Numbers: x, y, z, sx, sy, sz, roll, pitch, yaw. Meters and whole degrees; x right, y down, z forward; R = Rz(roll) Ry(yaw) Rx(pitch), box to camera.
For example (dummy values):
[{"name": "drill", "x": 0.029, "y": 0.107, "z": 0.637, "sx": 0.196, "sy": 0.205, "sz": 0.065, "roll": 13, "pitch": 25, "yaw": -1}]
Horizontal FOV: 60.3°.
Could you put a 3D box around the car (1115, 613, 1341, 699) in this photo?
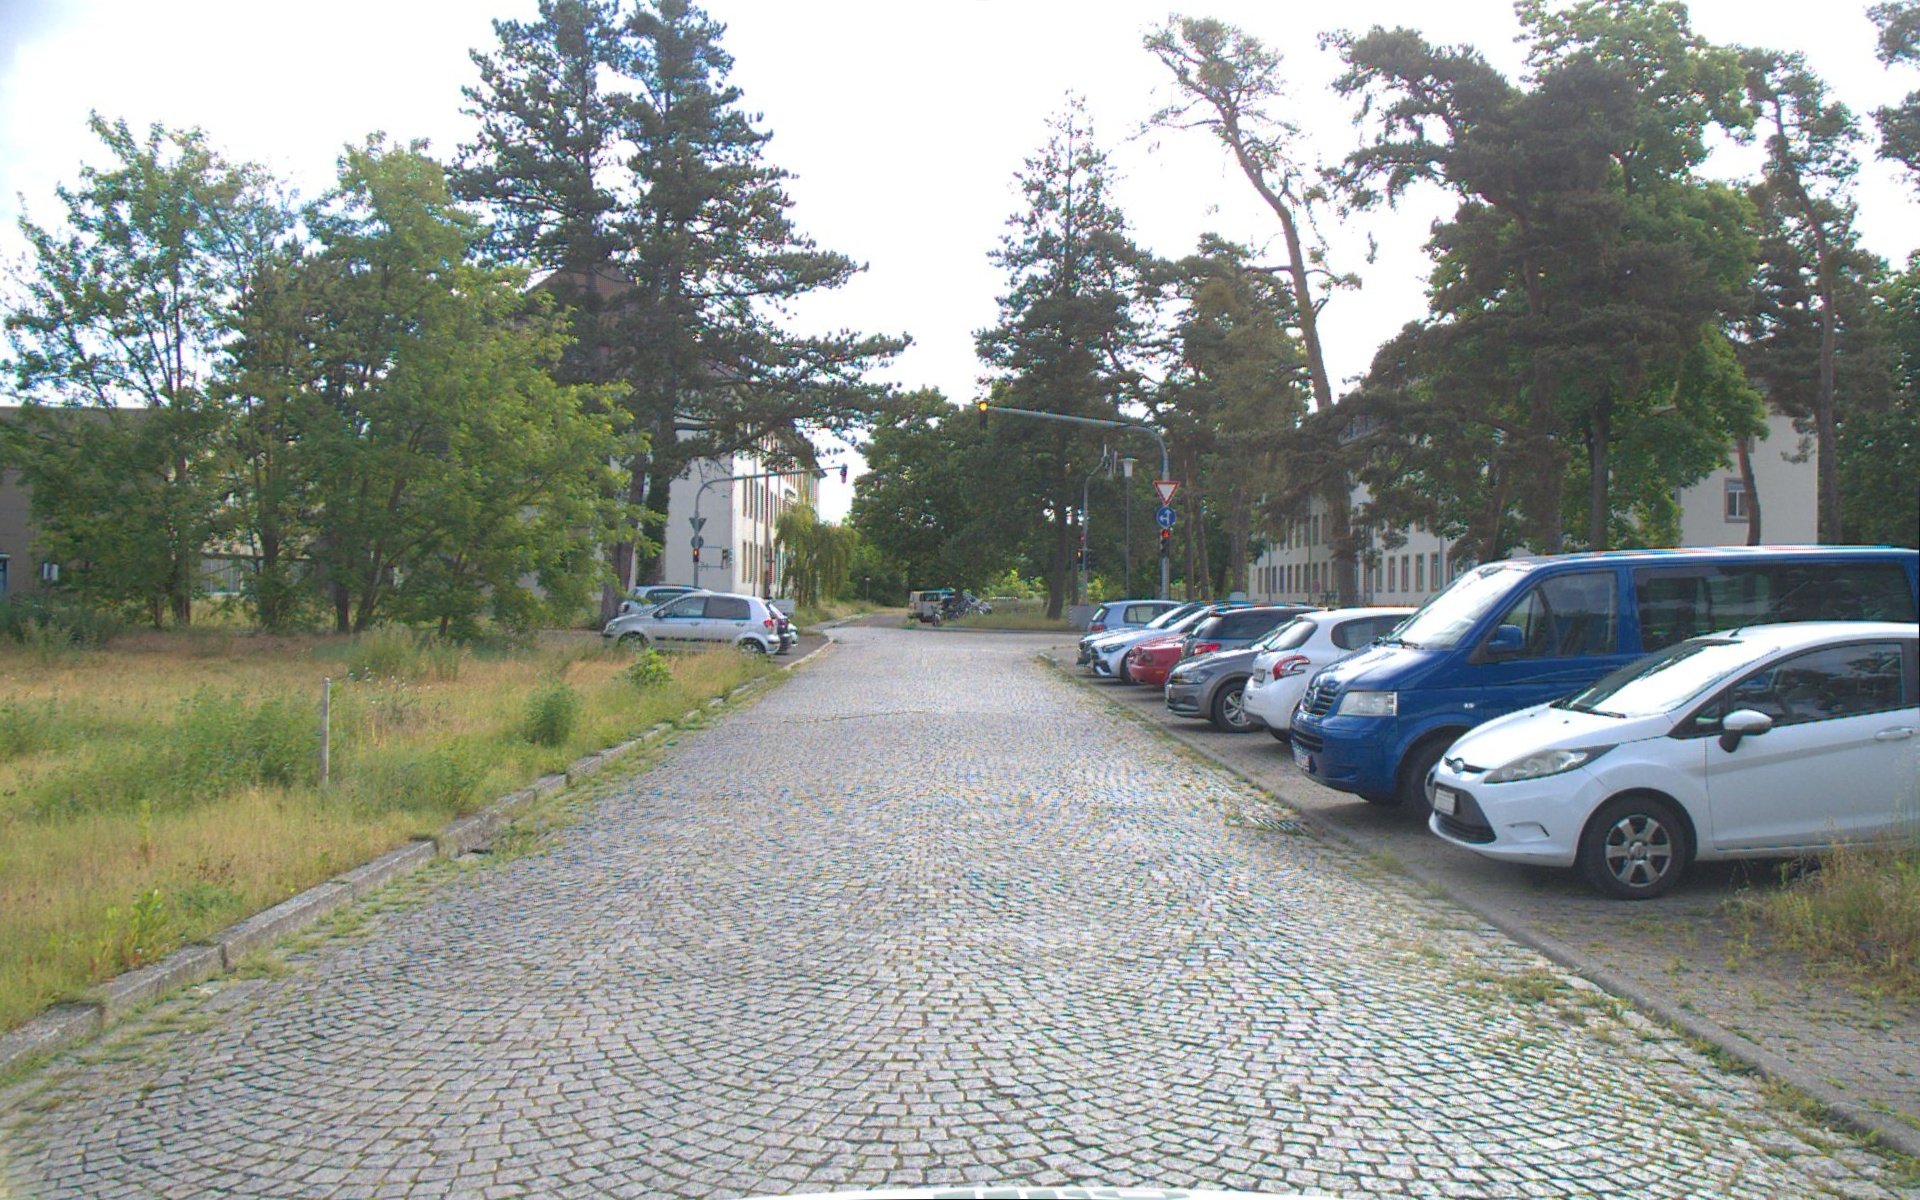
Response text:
[{"name": "car", "x": 4.236, "y": 0.868, "z": 26.360, "sx": 3.230, "sy": 1.289, "sz": 1.661, "roll": 0, "pitch": 0, "yaw": -7}]

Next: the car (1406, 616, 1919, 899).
[{"name": "car", "x": 4.746, "y": 0.864, "z": 9.941, "sx": 3.649, "sy": 1.449, "sz": 1.653, "roll": -1, "pitch": 0, "yaw": -4}]

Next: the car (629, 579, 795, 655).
[{"name": "car", "x": -6.081, "y": 0.411, "z": 40.680, "sx": 3.913, "sy": 1.780, "sz": 1.923, "roll": 1, "pitch": 0, "yaw": -9}]

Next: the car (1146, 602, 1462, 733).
[{"name": "car", "x": 4.276, "y": 0.805, "z": 20.767, "sx": 3.534, "sy": 1.533, "sz": 1.659, "roll": 0, "pitch": 0, "yaw": -12}]

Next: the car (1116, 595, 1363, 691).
[{"name": "car", "x": 4.795, "y": 0.725, "z": 28.624, "sx": 3.911, "sy": 1.570, "sz": 1.661, "roll": 1, "pitch": 0, "yaw": -7}]

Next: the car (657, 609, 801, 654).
[{"name": "car", "x": -5.967, "y": 0.811, "z": 42.885, "sx": 3.601, "sy": 1.113, "sz": 1.644, "roll": 0, "pitch": 0, "yaw": -8}]

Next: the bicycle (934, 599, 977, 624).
[{"name": "bicycle", "x": -0.237, "y": 0.597, "z": 86.885, "sx": 2.120, "sy": 1.290, "sz": 0.811, "roll": 1, "pitch": 0, "yaw": -8}]

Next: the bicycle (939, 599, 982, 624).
[{"name": "bicycle", "x": 0.041, "y": 0.587, "z": 85.092, "sx": 2.120, "sy": 1.290, "sz": 0.811, "roll": 1, "pitch": 0, "yaw": -8}]

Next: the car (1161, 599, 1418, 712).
[{"name": "car", "x": 4.673, "y": 0.757, "z": 23.657, "sx": 3.234, "sy": 1.530, "sz": 1.659, "roll": 0, "pitch": 0, "yaw": -12}]

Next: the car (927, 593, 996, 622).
[{"name": "car", "x": 0.093, "y": 0.454, "z": 99.643, "sx": 3.912, "sy": 1.673, "sz": 1.997, "roll": 1, "pitch": 0, "yaw": -8}]

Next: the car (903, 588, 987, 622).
[{"name": "car", "x": -0.928, "y": 0.321, "z": 102.892, "sx": 4.961, "sy": 2.049, "sz": 1.994, "roll": 1, "pitch": 0, "yaw": -12}]

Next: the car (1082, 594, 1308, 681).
[{"name": "car", "x": 4.352, "y": 0.679, "z": 30.903, "sx": 3.911, "sy": 1.570, "sz": 1.661, "roll": 0, "pitch": 0, "yaw": -7}]

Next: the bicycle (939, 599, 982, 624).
[{"name": "bicycle", "x": 0.023, "y": 0.592, "z": 85.679, "sx": 2.120, "sy": 1.290, "sz": 0.811, "roll": 1, "pitch": 0, "yaw": -8}]

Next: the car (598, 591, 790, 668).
[{"name": "car", "x": -5.603, "y": 0.602, "z": 35.136, "sx": 3.912, "sy": 1.579, "sz": 1.997, "roll": 0, "pitch": 0, "yaw": -8}]

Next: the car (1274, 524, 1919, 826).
[{"name": "car", "x": 4.896, "y": 0.535, "z": 12.441, "sx": 4.687, "sy": 2.075, "sz": 1.737, "roll": 1, "pitch": 0, "yaw": -4}]

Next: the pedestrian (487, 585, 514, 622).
[{"name": "pedestrian", "x": -19.115, "y": 0.132, "z": 68.792, "sx": 0.880, "sy": 1.524, "sz": 0.904, "roll": 1, "pitch": 0, "yaw": 0}]

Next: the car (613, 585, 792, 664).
[{"name": "car", "x": -5.815, "y": 0.545, "z": 37.618, "sx": 3.912, "sy": 1.735, "sz": 1.997, "roll": 0, "pitch": 0, "yaw": -8}]

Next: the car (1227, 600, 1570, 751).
[{"name": "car", "x": 4.663, "y": 0.783, "z": 17.874, "sx": 3.227, "sy": 1.531, "sz": 1.663, "roll": 0, "pitch": 0, "yaw": -4}]

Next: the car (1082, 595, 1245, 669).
[{"name": "car", "x": 4.438, "y": 0.691, "z": 36.233, "sx": 3.324, "sy": 1.570, "sz": 1.389, "roll": 0, "pitch": 0, "yaw": -7}]

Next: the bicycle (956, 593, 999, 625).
[{"name": "bicycle", "x": 0.921, "y": 0.446, "z": 86.415, "sx": 2.120, "sy": 1.644, "sz": 0.811, "roll": 1, "pitch": 0, "yaw": -8}]

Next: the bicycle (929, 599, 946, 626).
[{"name": "bicycle", "x": -1.102, "y": 0.620, "z": 81.300, "sx": 0.793, "sy": 1.290, "sz": 1.973, "roll": 1, "pitch": 0, "yaw": 0}]

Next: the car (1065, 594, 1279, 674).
[{"name": "car", "x": 4.274, "y": 0.673, "z": 33.657, "sx": 4.044, "sy": 1.570, "sz": 1.661, "roll": 0, "pitch": 0, "yaw": -7}]
